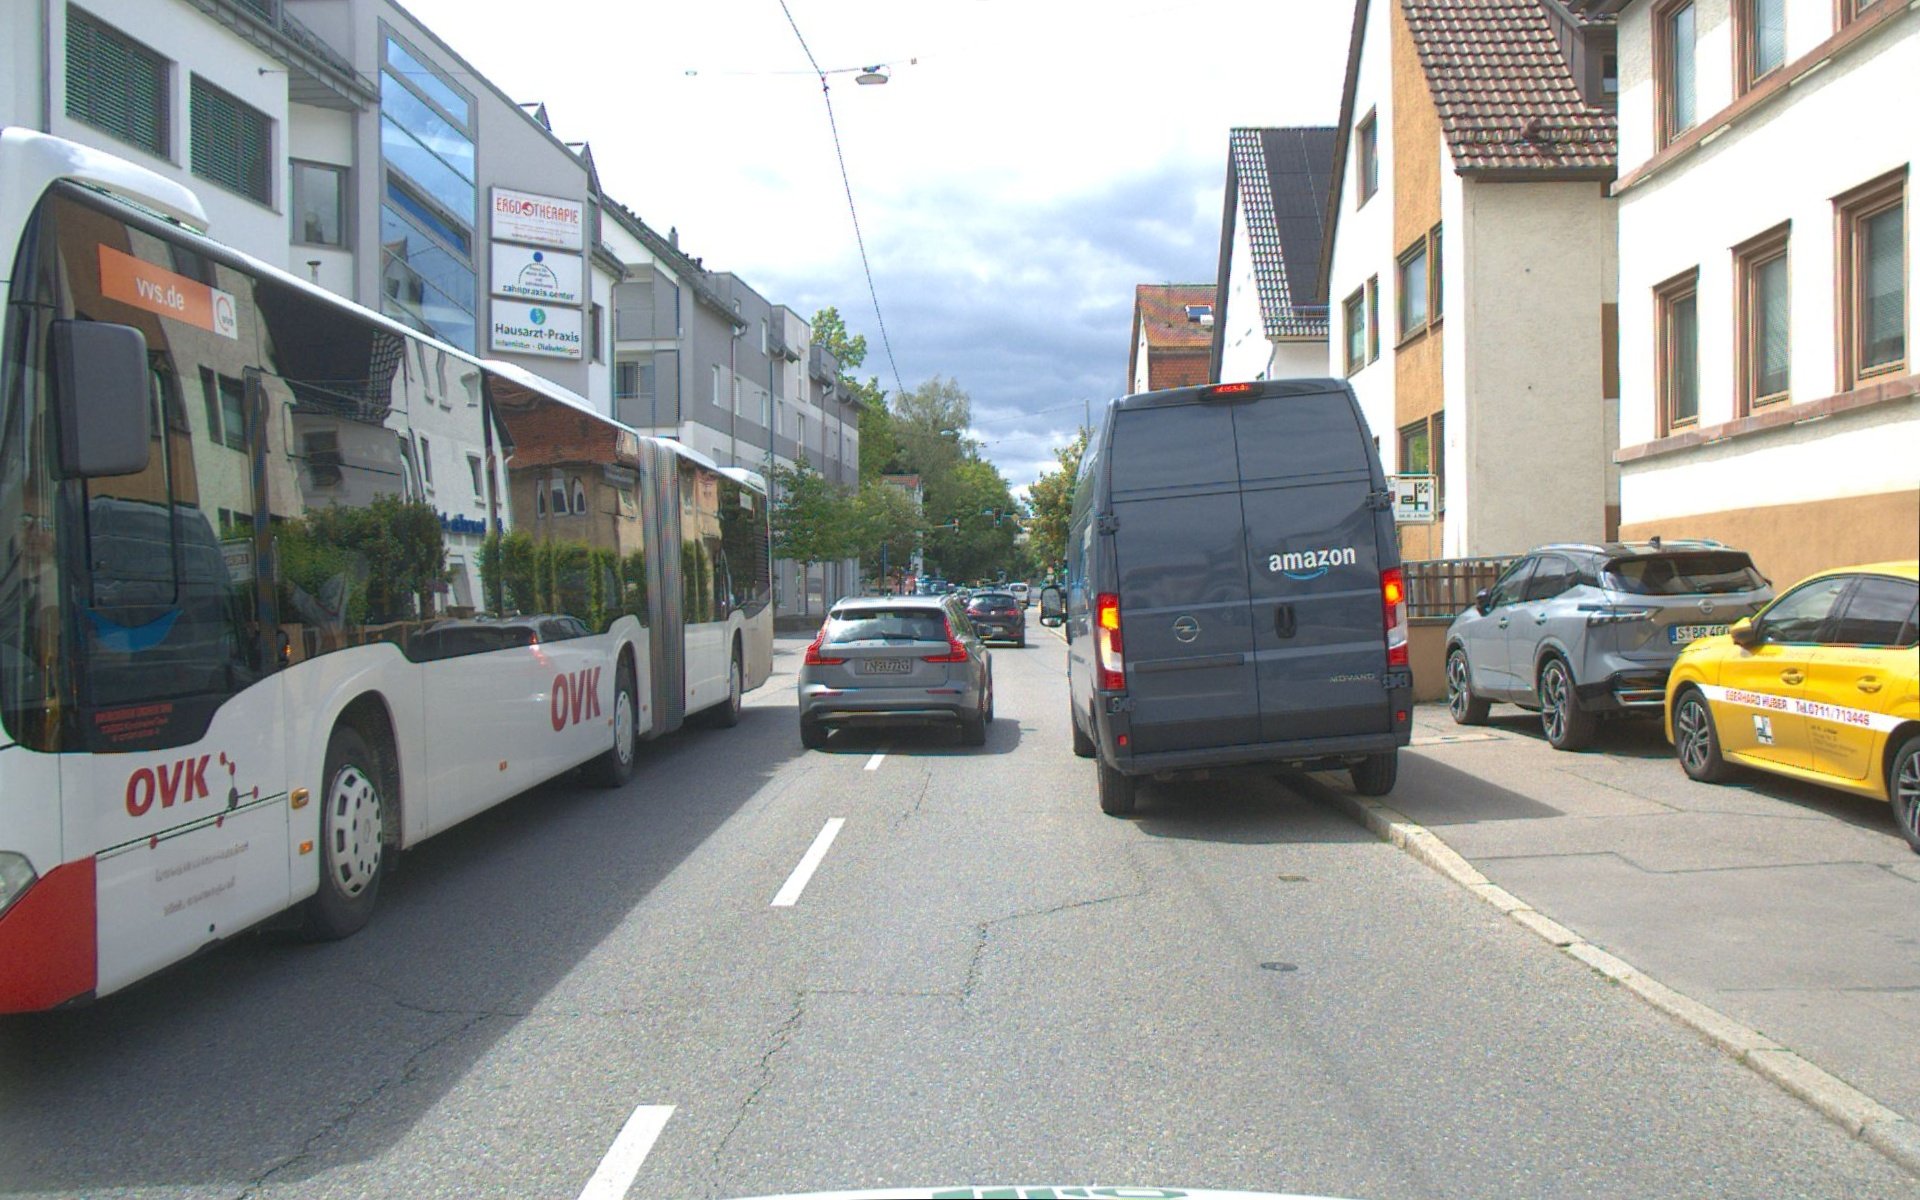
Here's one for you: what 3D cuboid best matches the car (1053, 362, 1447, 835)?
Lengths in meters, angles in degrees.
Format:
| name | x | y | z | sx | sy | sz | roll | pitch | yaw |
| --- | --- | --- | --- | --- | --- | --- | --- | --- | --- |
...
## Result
| name | x | y | z | sx | sy | sz | roll | pitch | yaw |
| --- | --- | --- | --- | --- | --- | --- | --- | --- | --- |
| car | 1.920 | -0.021 | 12.842 | 2.206 | 2.844 | 5.570 | -1 | 0 | 2 |

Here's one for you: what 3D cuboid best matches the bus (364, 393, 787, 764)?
| name | x | y | z | sx | sy | sz | roll | pitch | yaw |
| --- | --- | --- | --- | --- | --- | --- | --- | --- | --- |
| bus | -3.810 | -0.206 | 18.589 | 2.660 | 3.219 | 8.070 | -1 | 0 | 1 |

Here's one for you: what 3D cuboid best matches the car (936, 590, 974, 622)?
| name | x | y | z | sx | sy | sz | roll | pitch | yaw |
| --- | --- | --- | --- | --- | --- | --- | --- | --- | --- |
| car | -0.276 | 0.325 | 92.438 | 2.062 | 1.739 | 4.765 | -1 | 0 | 0 |

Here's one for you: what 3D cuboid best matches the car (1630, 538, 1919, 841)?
| name | x | y | z | sx | sy | sz | roll | pitch | yaw |
| --- | --- | --- | --- | --- | --- | --- | --- | --- | --- |
| car | 5.758 | 0.410 | 9.710 | 1.839 | 1.472 | 4.307 | -1 | 3 | -1 |

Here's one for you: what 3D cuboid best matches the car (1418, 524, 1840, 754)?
| name | x | y | z | sx | sy | sz | roll | pitch | yaw |
| --- | --- | --- | --- | --- | --- | --- | --- | --- | --- |
| car | 5.575 | 0.265 | 14.502 | 1.822 | 1.640 | 4.586 | -2 | 1 | 0 |

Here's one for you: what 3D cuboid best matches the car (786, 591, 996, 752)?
| name | x | y | z | sx | sy | sz | roll | pitch | yaw |
| --- | --- | --- | --- | --- | --- | --- | --- | --- | --- |
| car | -0.601 | 0.653 | 17.395 | 1.857 | 1.479 | 3.970 | 0 | 0 | 2 |

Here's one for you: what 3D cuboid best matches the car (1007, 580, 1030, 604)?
| name | x | y | z | sx | sy | sz | roll | pitch | yaw |
| --- | --- | --- | --- | --- | --- | --- | --- | --- | --- |
| car | 5.086 | -0.701 | 143.588 | 1.952 | 2.049 | 4.001 | -1 | 0 | 2 |

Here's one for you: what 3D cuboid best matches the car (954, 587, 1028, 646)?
| name | x | y | z | sx | sy | sz | roll | pitch | yaw |
| --- | --- | --- | --- | --- | --- | --- | --- | --- | --- |
| car | 0.859 | 0.409 | 43.989 | 1.857 | 1.472 | 3.970 | 0 | 0 | 2 |

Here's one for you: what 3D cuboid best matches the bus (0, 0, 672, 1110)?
| name | x | y | z | sx | sy | sz | roll | pitch | yaw |
| --- | --- | --- | --- | --- | --- | --- | --- | --- | --- |
| bus | -3.871 | -0.228 | 9.562 | 2.627 | 3.219 | 10.184 | -1 | 0 | 0 |

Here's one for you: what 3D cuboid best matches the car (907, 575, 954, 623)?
| name | x | y | z | sx | sy | sz | roll | pitch | yaw |
| --- | --- | --- | --- | --- | --- | --- | --- | --- | --- |
| car | -1.409 | -0.072 | 80.007 | 2.062 | 2.158 | 4.765 | -3 | 0 | 0 |

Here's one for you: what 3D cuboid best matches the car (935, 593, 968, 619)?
| name | x | y | z | sx | sy | sz | roll | pitch | yaw |
| --- | --- | --- | --- | --- | --- | --- | --- | --- | --- |
| car | -0.516 | 0.364 | 104.405 | 2.062 | 1.624 | 4.650 | -1 | 0 | 0 |
